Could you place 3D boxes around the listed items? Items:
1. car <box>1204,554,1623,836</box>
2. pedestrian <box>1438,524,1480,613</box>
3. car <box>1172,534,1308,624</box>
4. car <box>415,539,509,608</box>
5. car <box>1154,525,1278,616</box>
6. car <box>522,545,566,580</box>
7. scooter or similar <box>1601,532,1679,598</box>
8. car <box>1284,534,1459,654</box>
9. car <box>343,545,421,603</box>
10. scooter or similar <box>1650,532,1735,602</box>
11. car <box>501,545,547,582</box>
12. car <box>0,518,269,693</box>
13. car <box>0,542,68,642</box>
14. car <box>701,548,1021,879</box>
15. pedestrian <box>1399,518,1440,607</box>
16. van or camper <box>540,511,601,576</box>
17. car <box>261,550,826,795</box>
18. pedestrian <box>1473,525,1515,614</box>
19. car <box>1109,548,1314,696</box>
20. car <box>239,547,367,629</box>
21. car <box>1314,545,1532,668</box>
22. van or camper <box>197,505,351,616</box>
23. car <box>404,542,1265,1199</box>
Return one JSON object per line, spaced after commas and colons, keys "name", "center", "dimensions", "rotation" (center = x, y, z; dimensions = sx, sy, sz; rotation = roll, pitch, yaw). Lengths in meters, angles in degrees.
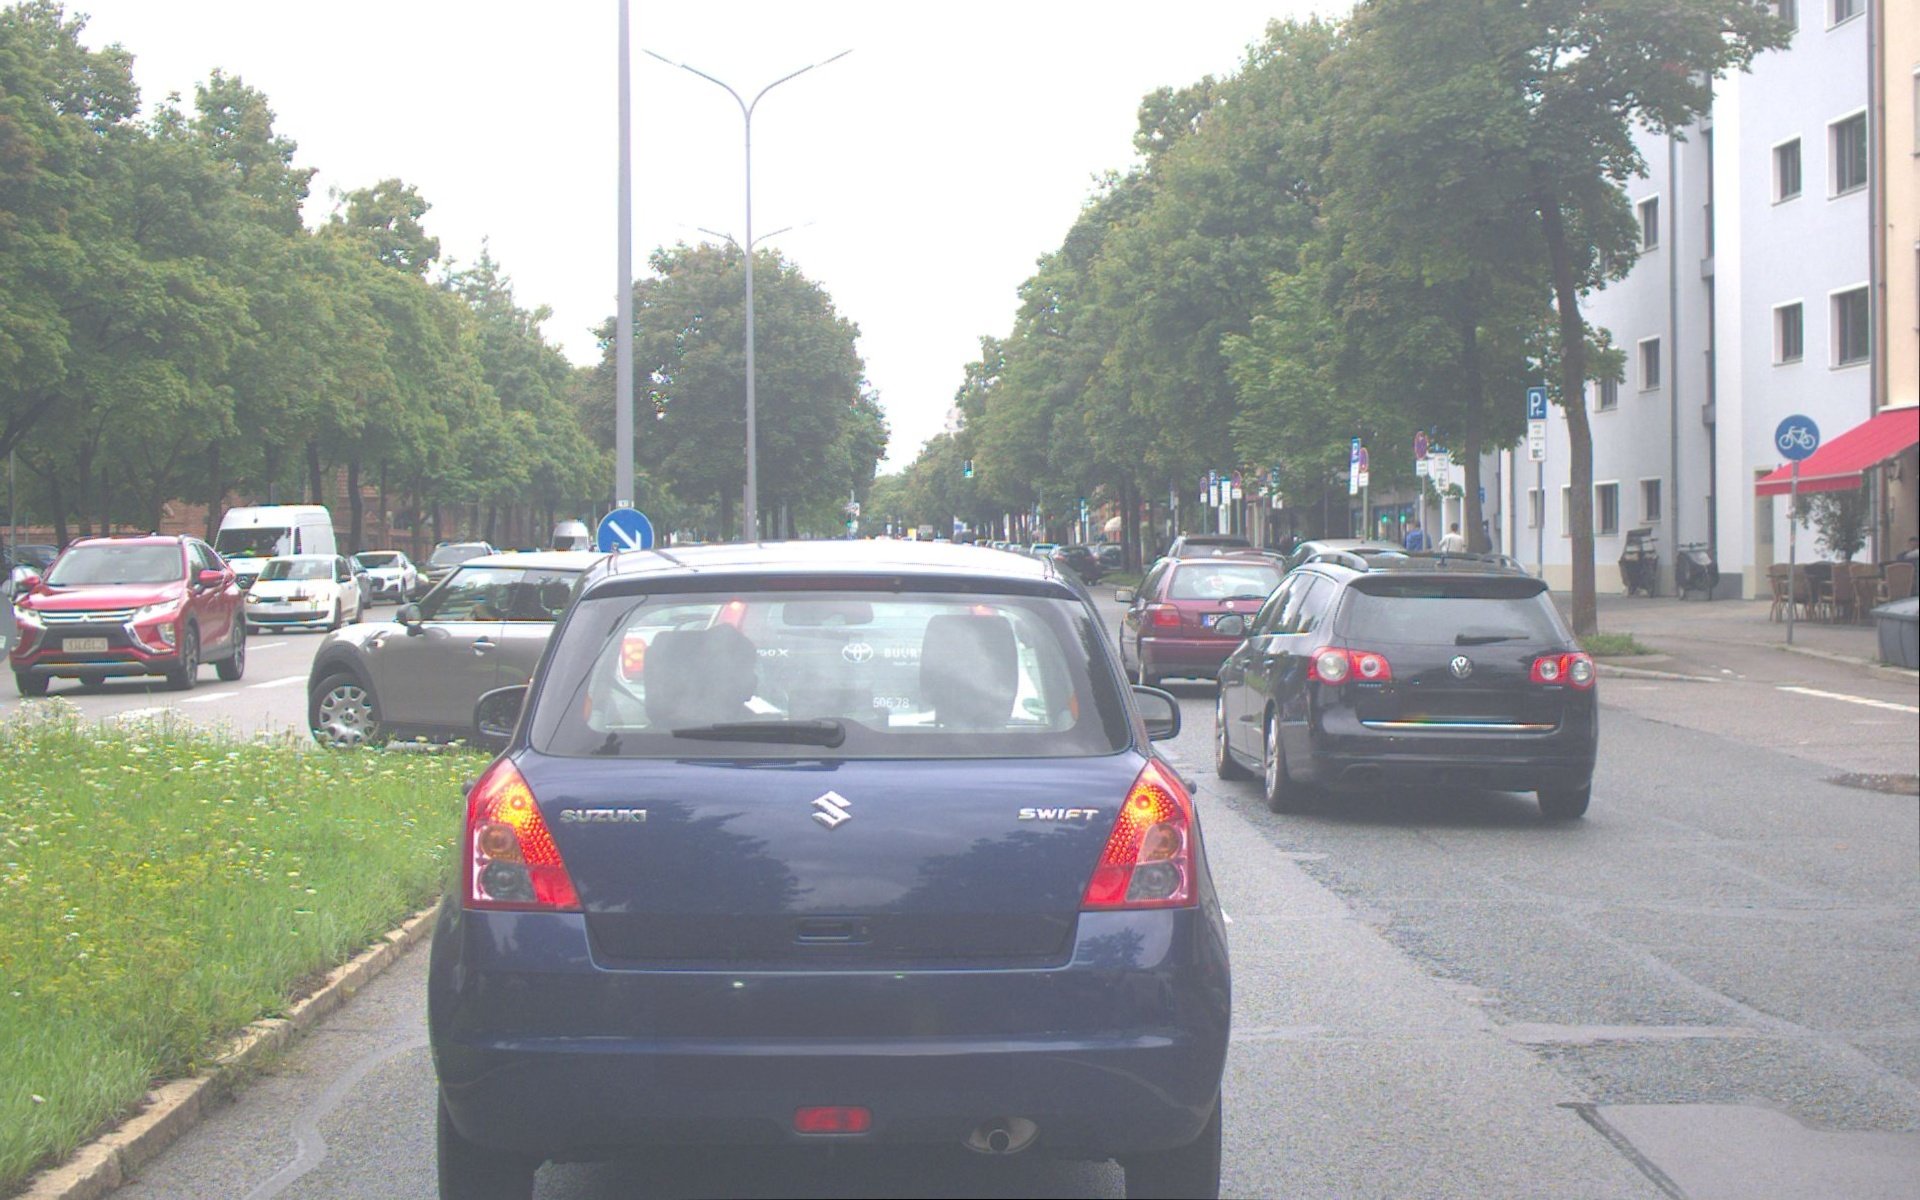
{"name": "car", "center": [2.561, 0.473, 20.427], "dimensions": [1.731, 1.427, 4.443], "rotation": [1, 1, -2]}
{"name": "pedestrian", "center": [11.303, -0.711, 77.932], "dimensions": [0.794, 2.007, 1.006], "rotation": [0, 1, 0]}
{"name": "car", "center": [4.932, -0.399, 61.039], "dimensions": [1.865, 1.512, 4.225], "rotation": [-1, 1, -2]}
{"name": "car", "center": [-12.496, -0.694, 86.482], "dimensions": [1.766, 1.618, 4.507], "rotation": [-2, 1, -1]}
{"name": "car", "center": [4.865, -0.598, 65.875], "dimensions": [1.865, 1.677, 4.225], "rotation": [-1, 1, -2]}
{"name": "car", "center": [-19.251, -1.741, 159.224], "dimensions": [1.632, 1.577, 3.879], "rotation": [1, 1, -2]}
{"name": "scooter or similar", "center": [13.696, -0.724, 69.324], "dimensions": [1.033, 1.303, 2.755], "rotation": [0, 1, 0]}
{"name": "car", "center": [5.661, -0.122, 47.709], "dimensions": [1.791, 1.553, 4.225], "rotation": [-1, 1, -2]}
{"name": "car", "center": [-16.170, -0.730, 96.292], "dimensions": [1.632, 1.577, 3.879], "rotation": [1, 1, -2]}
{"name": "scooter or similar", "center": [13.994, -0.649, 65.748], "dimensions": [1.033, 1.303, 2.755], "rotation": [0, 1, 0]}
{"name": "car", "center": [-18.934, -1.590, 149.401], "dimensions": [1.632, 1.577, 3.879], "rotation": [1, 1, -2]}
{"name": "car", "center": [-8.834, 0.011, 36.940], "dimensions": [1.904, 1.690, 4.245], "rotation": [-2, 1, 0]}
{"name": "car", "center": [-15.490, -0.157, 54.874], "dimensions": [1.590, 1.553, 3.879], "rotation": [1, 1, -2]}
{"name": "car", "center": [-0.500, 0.489, 17.092], "dimensions": [1.444, 1.478, 3.107], "rotation": [0, 1, -2]}
{"name": "pedestrian", "center": [10.417, -0.849, 77.988], "dimensions": [0.794, 2.007, 1.006], "rotation": [0, 1, 0]}
{"name": "van or camper", "center": [-20.075, -2.895, 177.472], "dimensions": [2.561, 3.284, 6.938], "rotation": [1, 1, -2]}
{"name": "car", "center": [-2.805, 0.410, 22.731], "dimensions": [3.731, 1.458, 1.683], "rotation": [1, 2, 42]}
{"name": "pedestrian", "center": [12.131, -0.704, 78.069], "dimensions": [0.794, 2.007, 1.006], "rotation": [0, 1, 0]}
{"name": "car", "center": [2.495, 0.182, 34.861], "dimensions": [1.682, 1.379, 3.919], "rotation": [1, 1, -1]}
{"name": "car", "center": [-11.906, -0.240, 62.479], "dimensions": [1.618, 1.370, 3.838], "rotation": [-2, 1, -1]}
{"name": "car", "center": [5.729, 0.045, 43.008], "dimensions": [1.865, 1.412, 4.225], "rotation": [-1, 1, -4]}
{"name": "van or camper", "center": [-16.031, -0.932, 80.760], "dimensions": [2.117, 2.473, 7.449], "rotation": [1, 1, 0]}
{"name": "car", "center": [-0.310, 0.612, 8.692], "dimensions": [1.682, 1.496, 3.919], "rotation": [0, 1, -2]}
